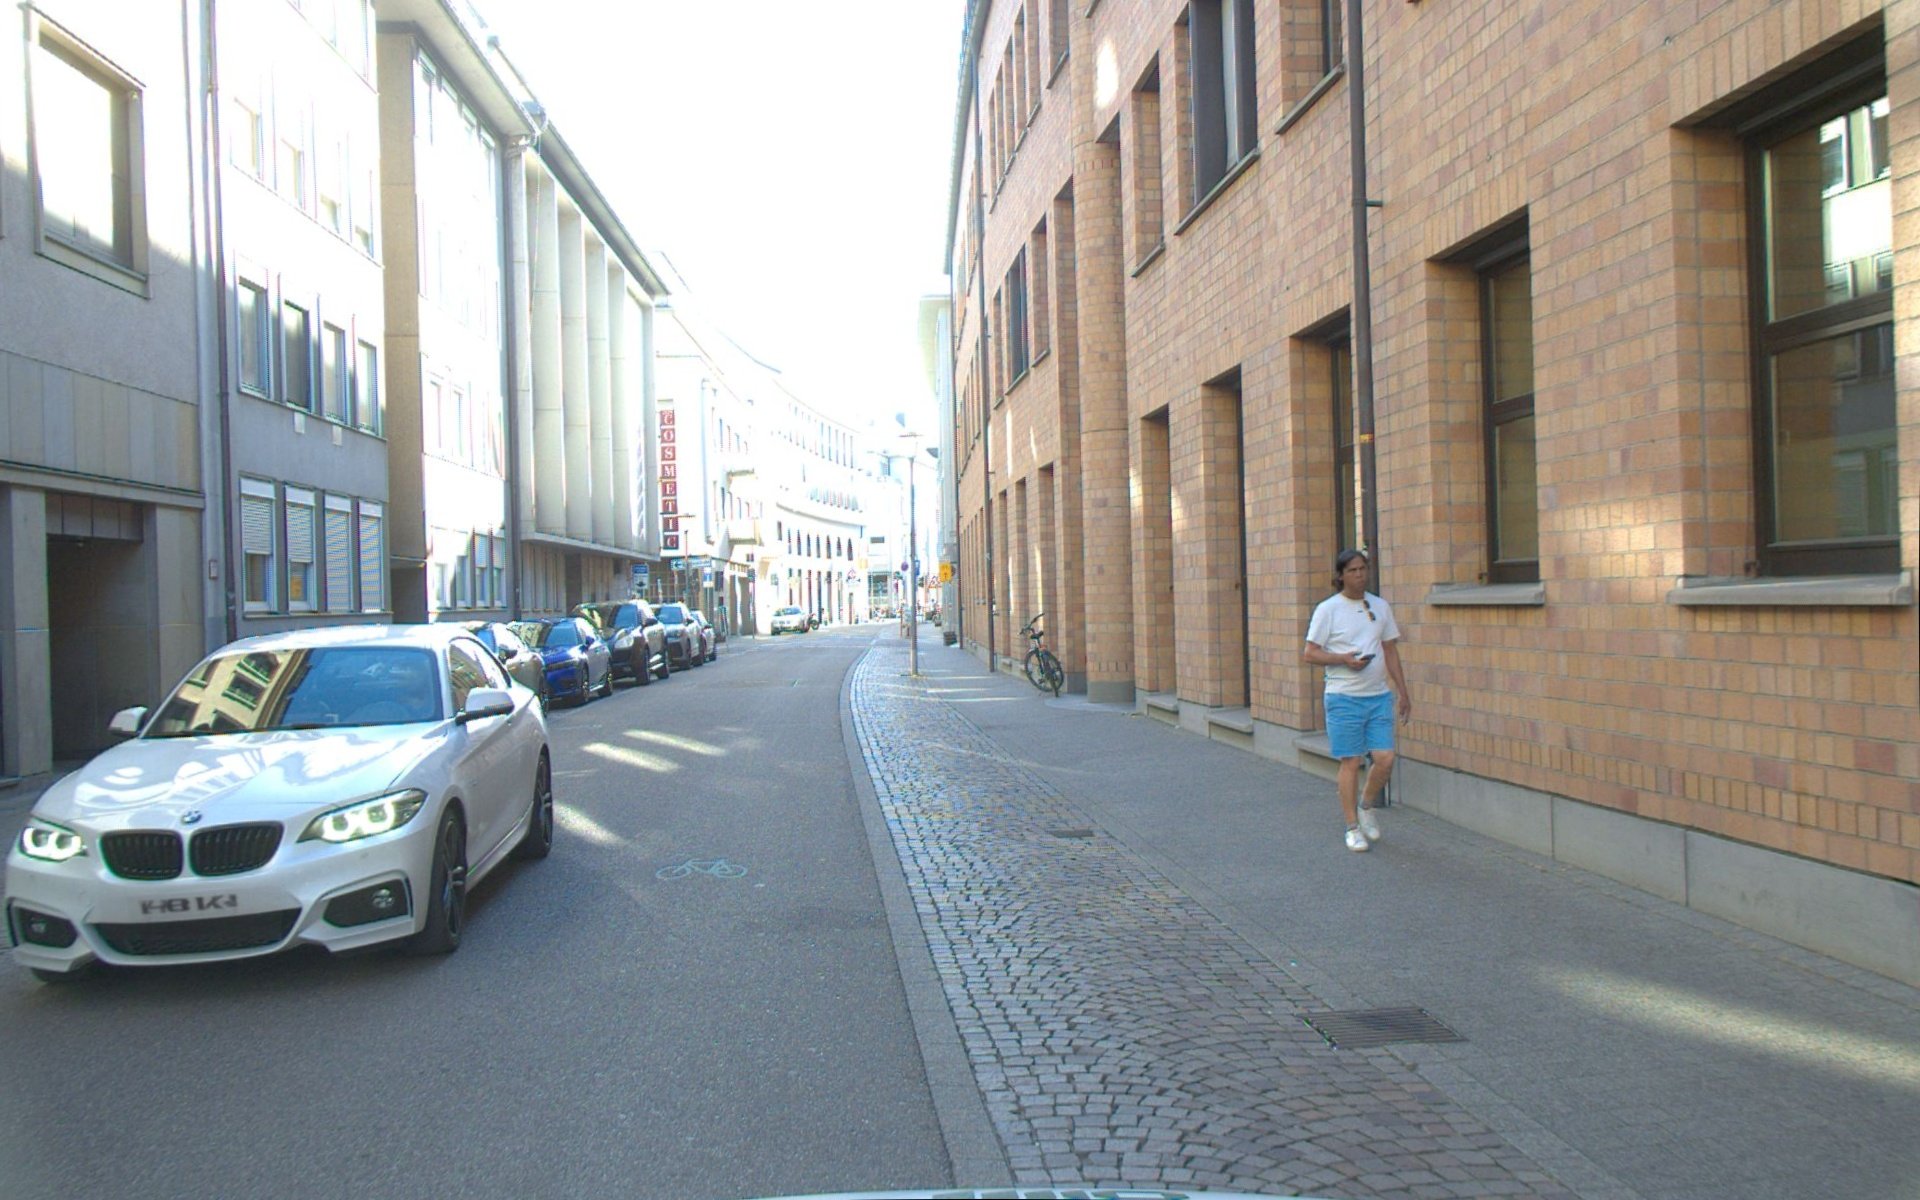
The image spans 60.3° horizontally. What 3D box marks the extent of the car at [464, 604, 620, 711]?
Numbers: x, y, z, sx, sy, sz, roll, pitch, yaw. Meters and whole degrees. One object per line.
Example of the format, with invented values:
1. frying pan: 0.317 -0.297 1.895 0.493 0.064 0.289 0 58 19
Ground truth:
1. car: -6.931 0.901 27.839 1.853 1.556 4.334 -2 0 -6

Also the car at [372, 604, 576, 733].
1. car: -6.654 0.862 23.155 1.853 1.557 4.723 -1 0 -6

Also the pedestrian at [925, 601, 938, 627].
1. pedestrian: -2.045 1.042 120.505 0.653 1.901 0.777 1 -1 -32

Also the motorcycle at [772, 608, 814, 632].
1. motorcycle: -9.915 1.183 98.075 2.343 1.340 0.861 -3 0 -3

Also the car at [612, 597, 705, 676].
1. car: -7.459 0.857 41.288 1.853 1.772 4.385 -2 0 -6

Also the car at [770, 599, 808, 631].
1. car: -8.971 0.781 87.022 1.701 1.634 3.531 -1 0 -1

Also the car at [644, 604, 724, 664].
1. car: -7.731 0.916 46.545 1.616 1.486 3.997 -4 0 -2

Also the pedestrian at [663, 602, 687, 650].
1. pedestrian: -9.788 0.892 56.893 0.642 1.654 0.450 -1 0 -44

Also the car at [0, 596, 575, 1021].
1. car: -3.122 0.785 8.390 1.681 1.544 4.155 -2 0 -6

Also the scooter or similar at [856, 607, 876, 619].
1. scooter or similar: -7.354 1.007 129.923 0.515 0.944 2.225 -1 0 28

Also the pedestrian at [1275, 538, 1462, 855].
1. pedestrian: 2.393 0.542 9.773 0.746 1.746 0.820 -4 0 -6

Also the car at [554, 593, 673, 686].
1. car: -7.066 0.758 34.128 1.853 1.705 4.548 -2 0 -6

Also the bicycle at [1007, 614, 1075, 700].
1. bicycle: 1.158 0.800 23.997 0.539 1.122 1.978 -5 1 -8

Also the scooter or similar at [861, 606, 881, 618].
1. scooter or similar: -7.167 0.948 133.264 0.515 0.944 2.225 -1 0 28

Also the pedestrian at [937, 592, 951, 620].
1. pedestrian: -1.133 0.433 115.498 0.653 1.901 0.752 1 -1 -32
